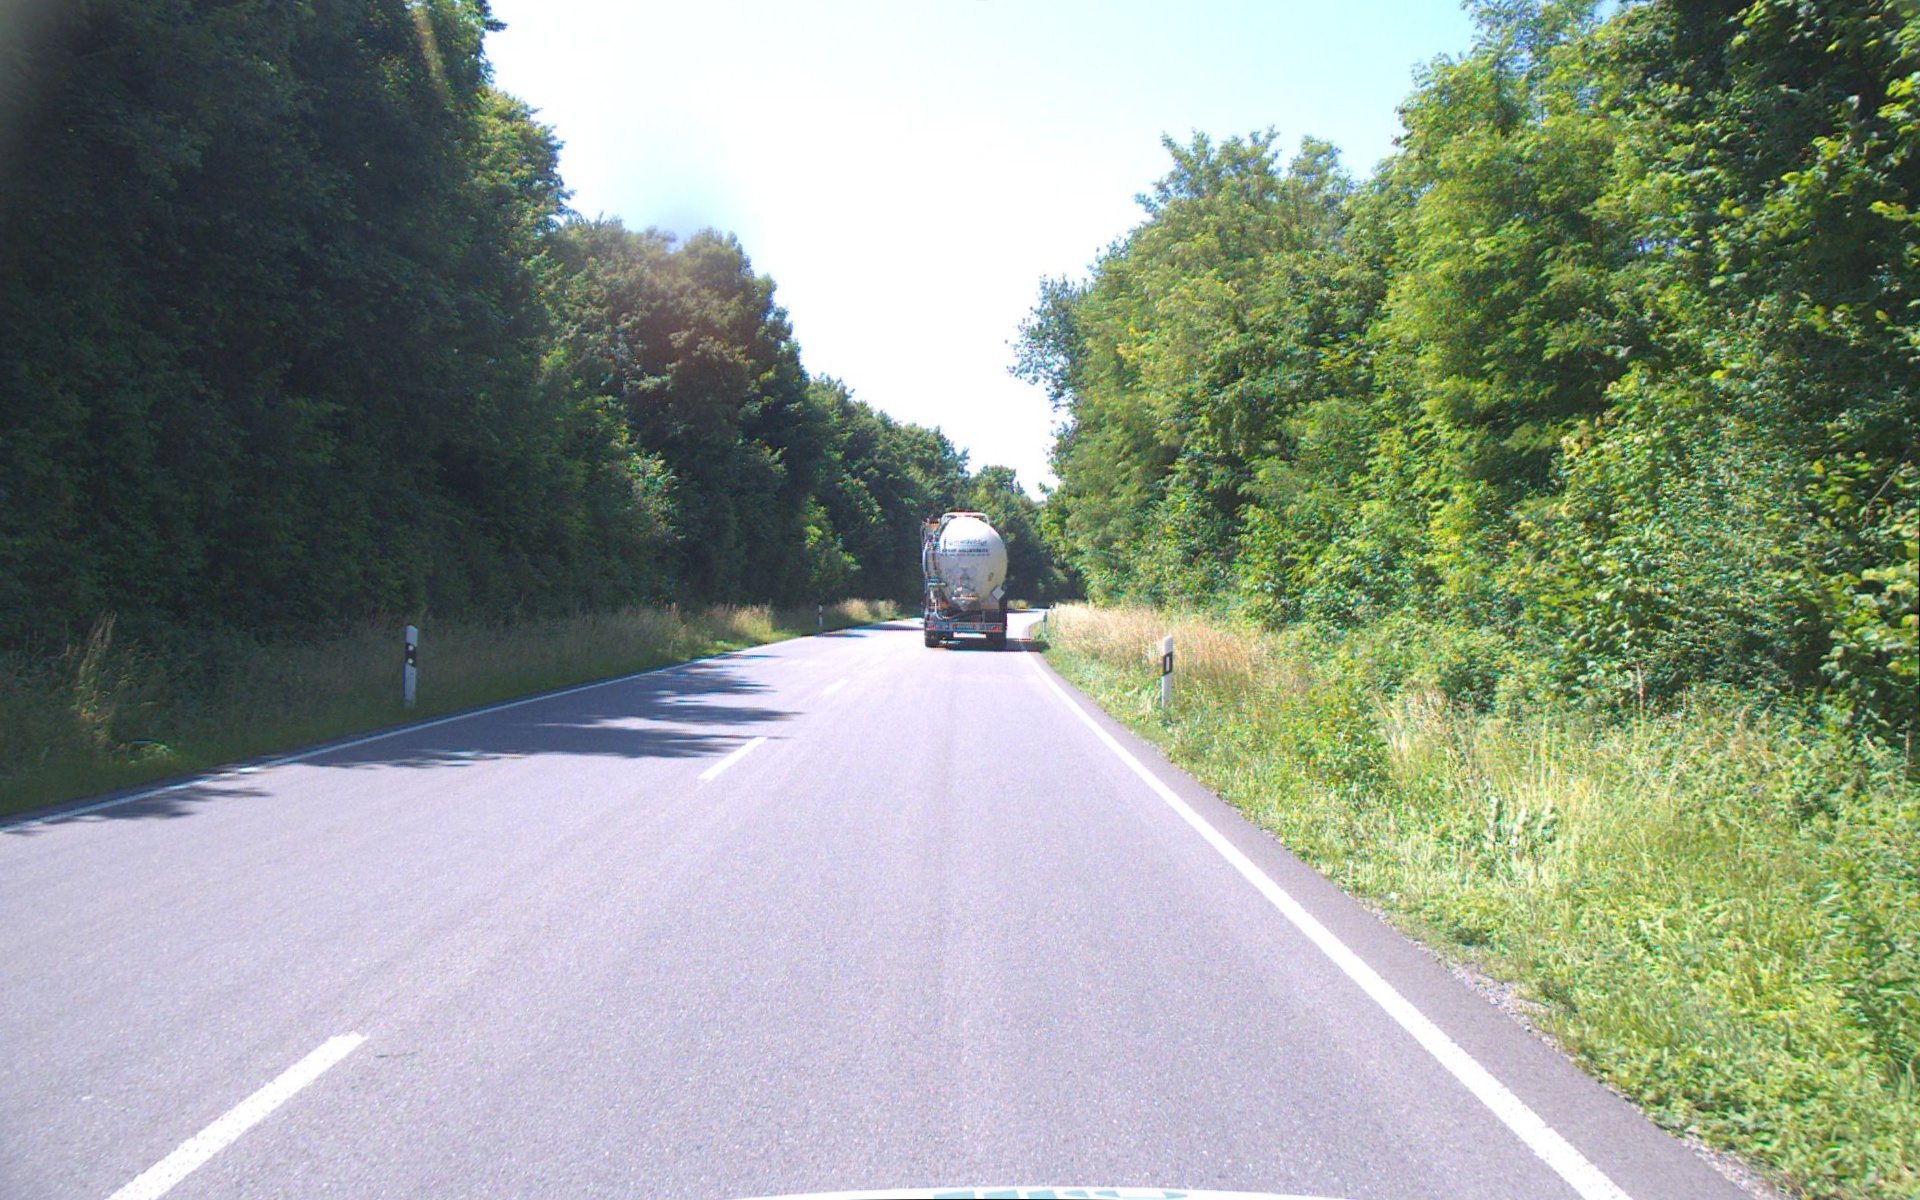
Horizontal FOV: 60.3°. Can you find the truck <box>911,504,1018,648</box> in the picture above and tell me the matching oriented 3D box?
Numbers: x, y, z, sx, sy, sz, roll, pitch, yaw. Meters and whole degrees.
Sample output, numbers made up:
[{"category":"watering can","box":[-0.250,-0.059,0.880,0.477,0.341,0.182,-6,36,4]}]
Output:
[{"category":"truck","box":[0.018,-0.708,55.105,2.987,4.068,15.633,1,0,-1]}]
